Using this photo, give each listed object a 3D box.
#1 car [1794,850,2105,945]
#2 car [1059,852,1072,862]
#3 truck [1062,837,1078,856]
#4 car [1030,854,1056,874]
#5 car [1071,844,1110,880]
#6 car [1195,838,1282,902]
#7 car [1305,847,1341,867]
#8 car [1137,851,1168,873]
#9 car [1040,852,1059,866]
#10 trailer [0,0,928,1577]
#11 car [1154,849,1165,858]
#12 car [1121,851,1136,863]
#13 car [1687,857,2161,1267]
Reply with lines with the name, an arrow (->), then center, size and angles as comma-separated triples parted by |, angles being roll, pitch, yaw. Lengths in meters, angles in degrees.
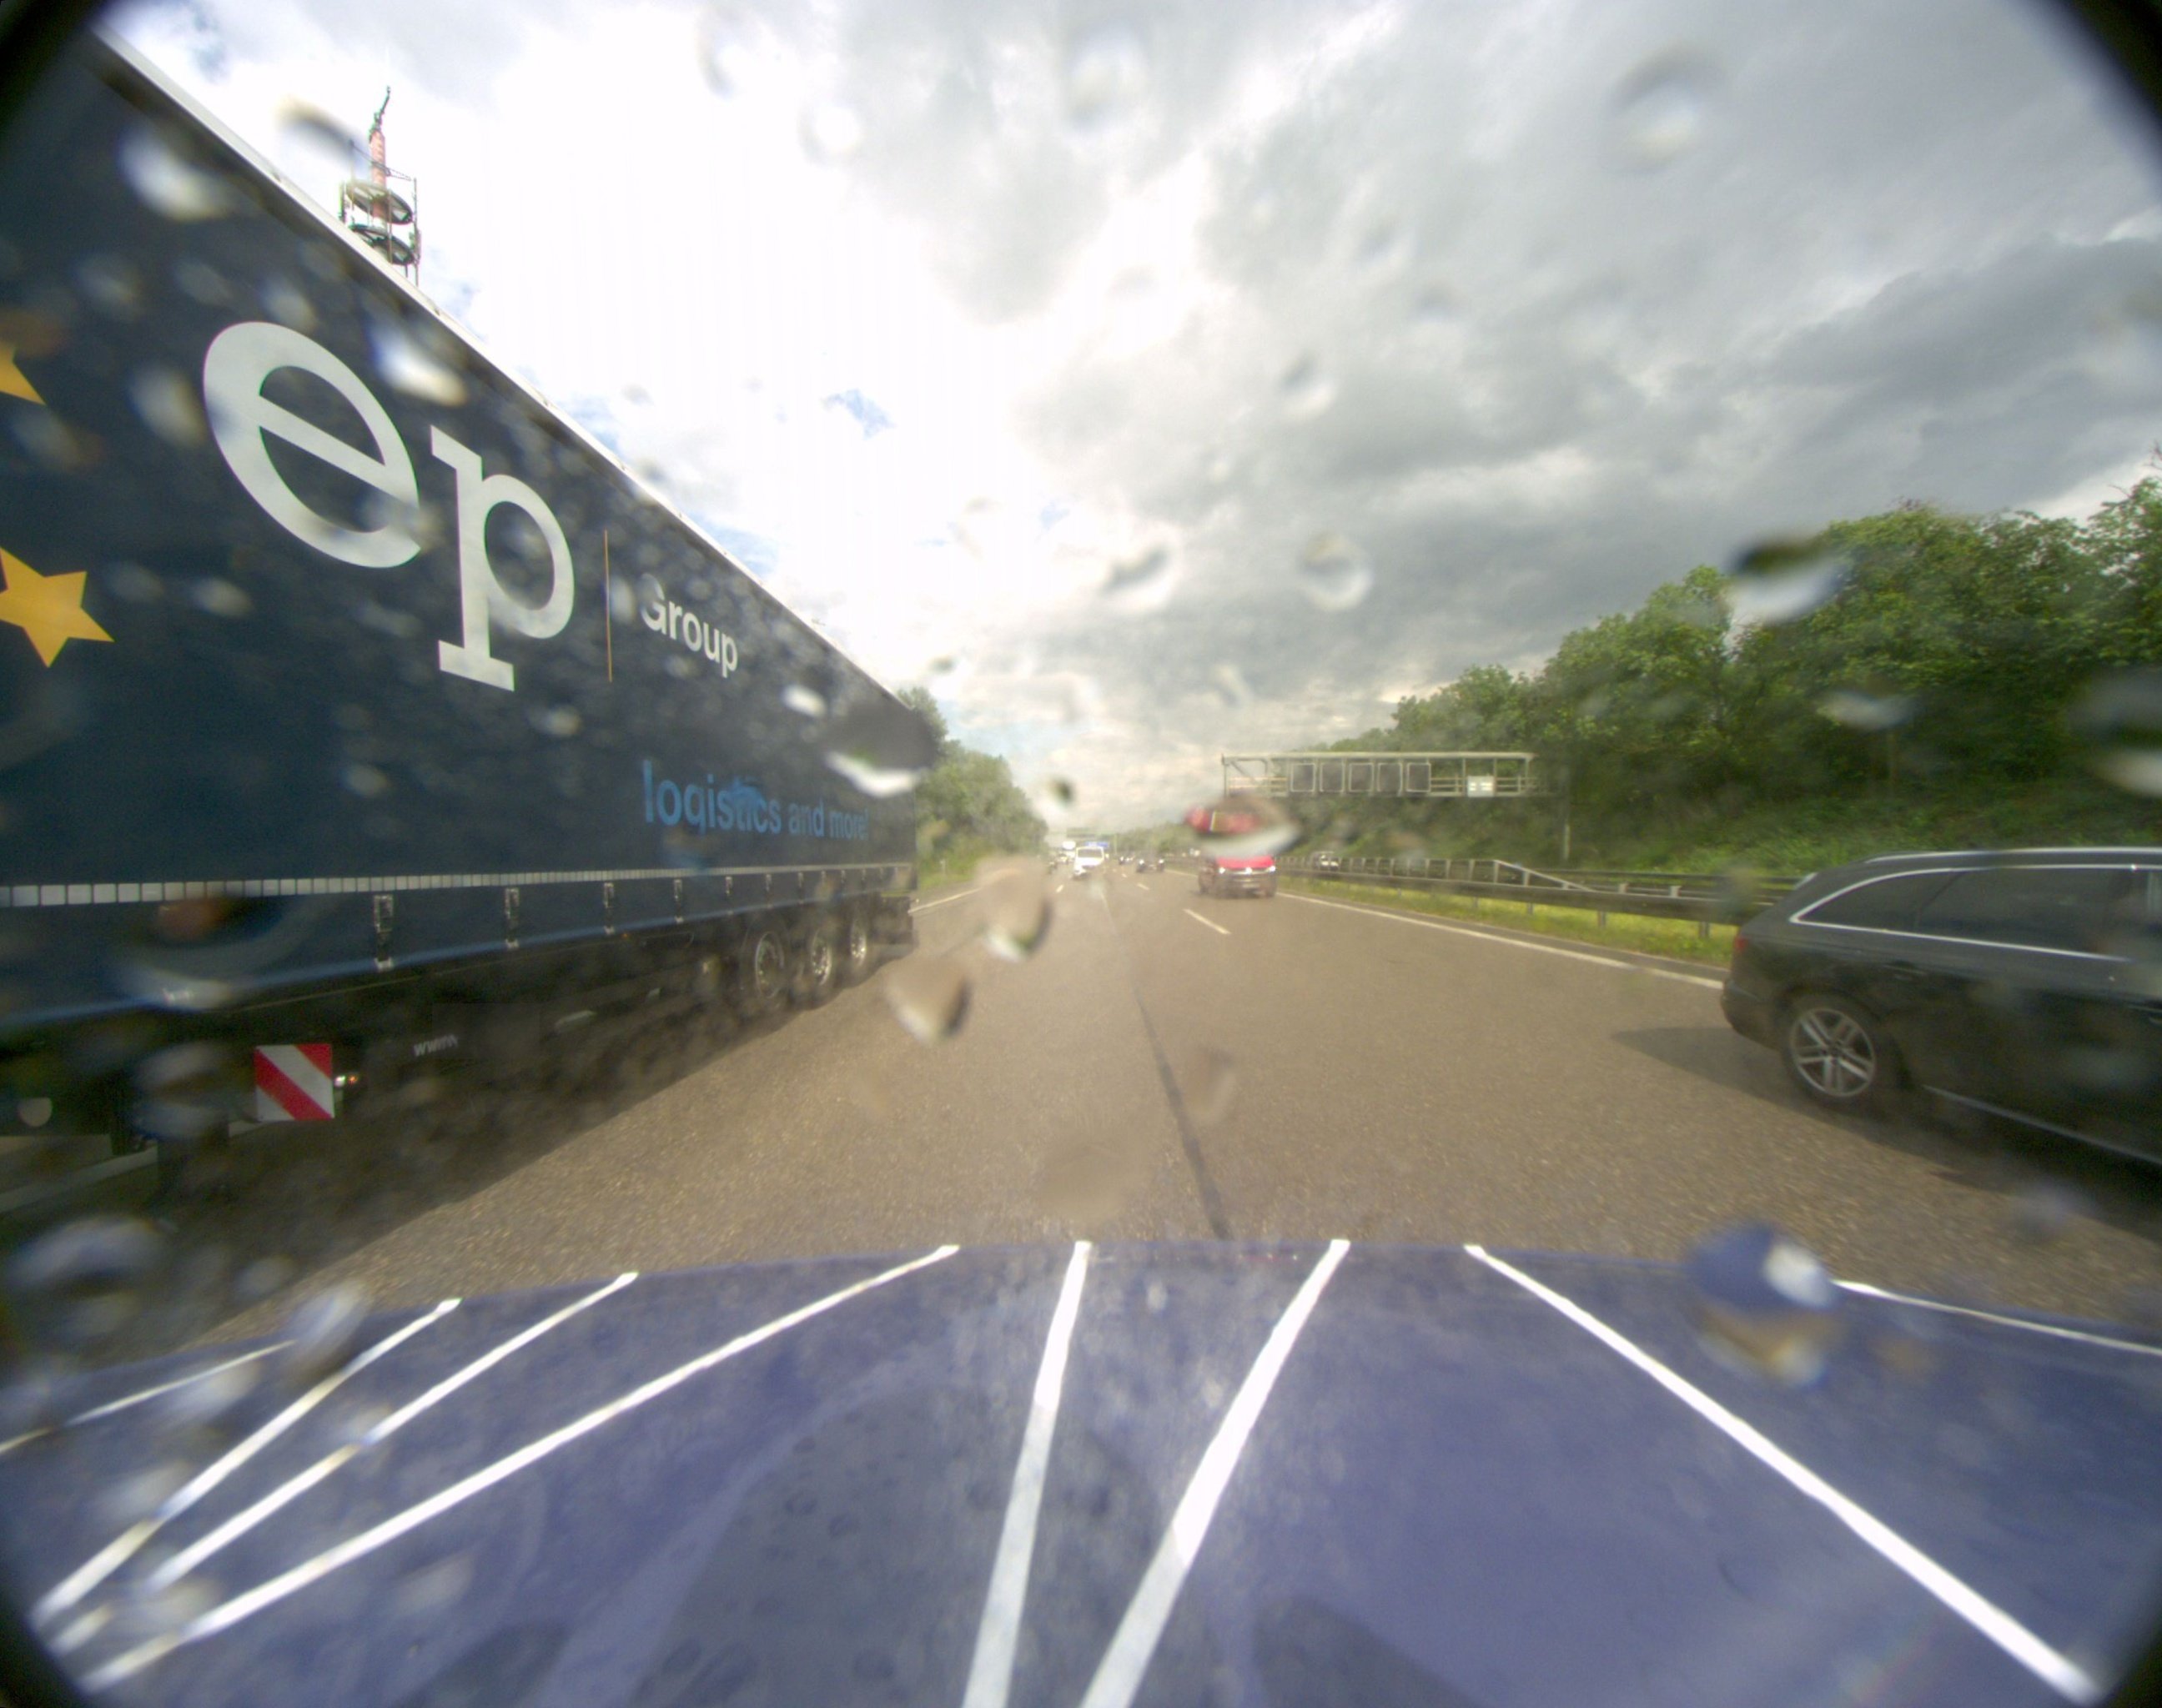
car -> 17.872, 0.783, 16.011 | 1.704, 1.653, 4.235 | -2, 1, 0
car -> -2.423, 0.474, 119.902 | 1.798, 1.410, 4.838 | -2, 1, 1
truck -> -2.231, -1.442, 157.609 | 3.064, 3.827, 8.799 | 0, 0, 0
car -> -3.077, 0.775, 62.312 | 1.798, 1.410, 4.838 | -2, 1, 1
car -> 0.620, 0.419, 46.316 | 2.124, 1.988, 5.982 | -2, 1, 1
car -> 5.134, 0.464, 25.436 | 1.926, 1.855, 4.838 | -2, 1, 1
car -> 22.377, 0.251, 70.364 | 1.833, 1.653, 4.630 | -2, 1, 0
car -> 5.503, 0.600, 58.895 | 2.009, 1.488, 4.838 | -2, 1, 1
car -> -3.483, 0.537, 85.795 | 1.798, 1.410, 4.838 | -2, 1, 1
trailer -> -3.947, -0.235, 5.182 | 2.641, 3.972, 14.063 | -2, 1, 1
car -> 14.886, -0.057, 144.450 | 1.771, 1.653, 4.112 | -2, 1, 0
car -> 6.207, 0.424, 100.016 | 1.798, 1.410, 4.838 | -2, 1, 1
car -> 4.841, 0.782, 2.560 | 1.798, 1.410, 4.838 | -2, 1, 1
